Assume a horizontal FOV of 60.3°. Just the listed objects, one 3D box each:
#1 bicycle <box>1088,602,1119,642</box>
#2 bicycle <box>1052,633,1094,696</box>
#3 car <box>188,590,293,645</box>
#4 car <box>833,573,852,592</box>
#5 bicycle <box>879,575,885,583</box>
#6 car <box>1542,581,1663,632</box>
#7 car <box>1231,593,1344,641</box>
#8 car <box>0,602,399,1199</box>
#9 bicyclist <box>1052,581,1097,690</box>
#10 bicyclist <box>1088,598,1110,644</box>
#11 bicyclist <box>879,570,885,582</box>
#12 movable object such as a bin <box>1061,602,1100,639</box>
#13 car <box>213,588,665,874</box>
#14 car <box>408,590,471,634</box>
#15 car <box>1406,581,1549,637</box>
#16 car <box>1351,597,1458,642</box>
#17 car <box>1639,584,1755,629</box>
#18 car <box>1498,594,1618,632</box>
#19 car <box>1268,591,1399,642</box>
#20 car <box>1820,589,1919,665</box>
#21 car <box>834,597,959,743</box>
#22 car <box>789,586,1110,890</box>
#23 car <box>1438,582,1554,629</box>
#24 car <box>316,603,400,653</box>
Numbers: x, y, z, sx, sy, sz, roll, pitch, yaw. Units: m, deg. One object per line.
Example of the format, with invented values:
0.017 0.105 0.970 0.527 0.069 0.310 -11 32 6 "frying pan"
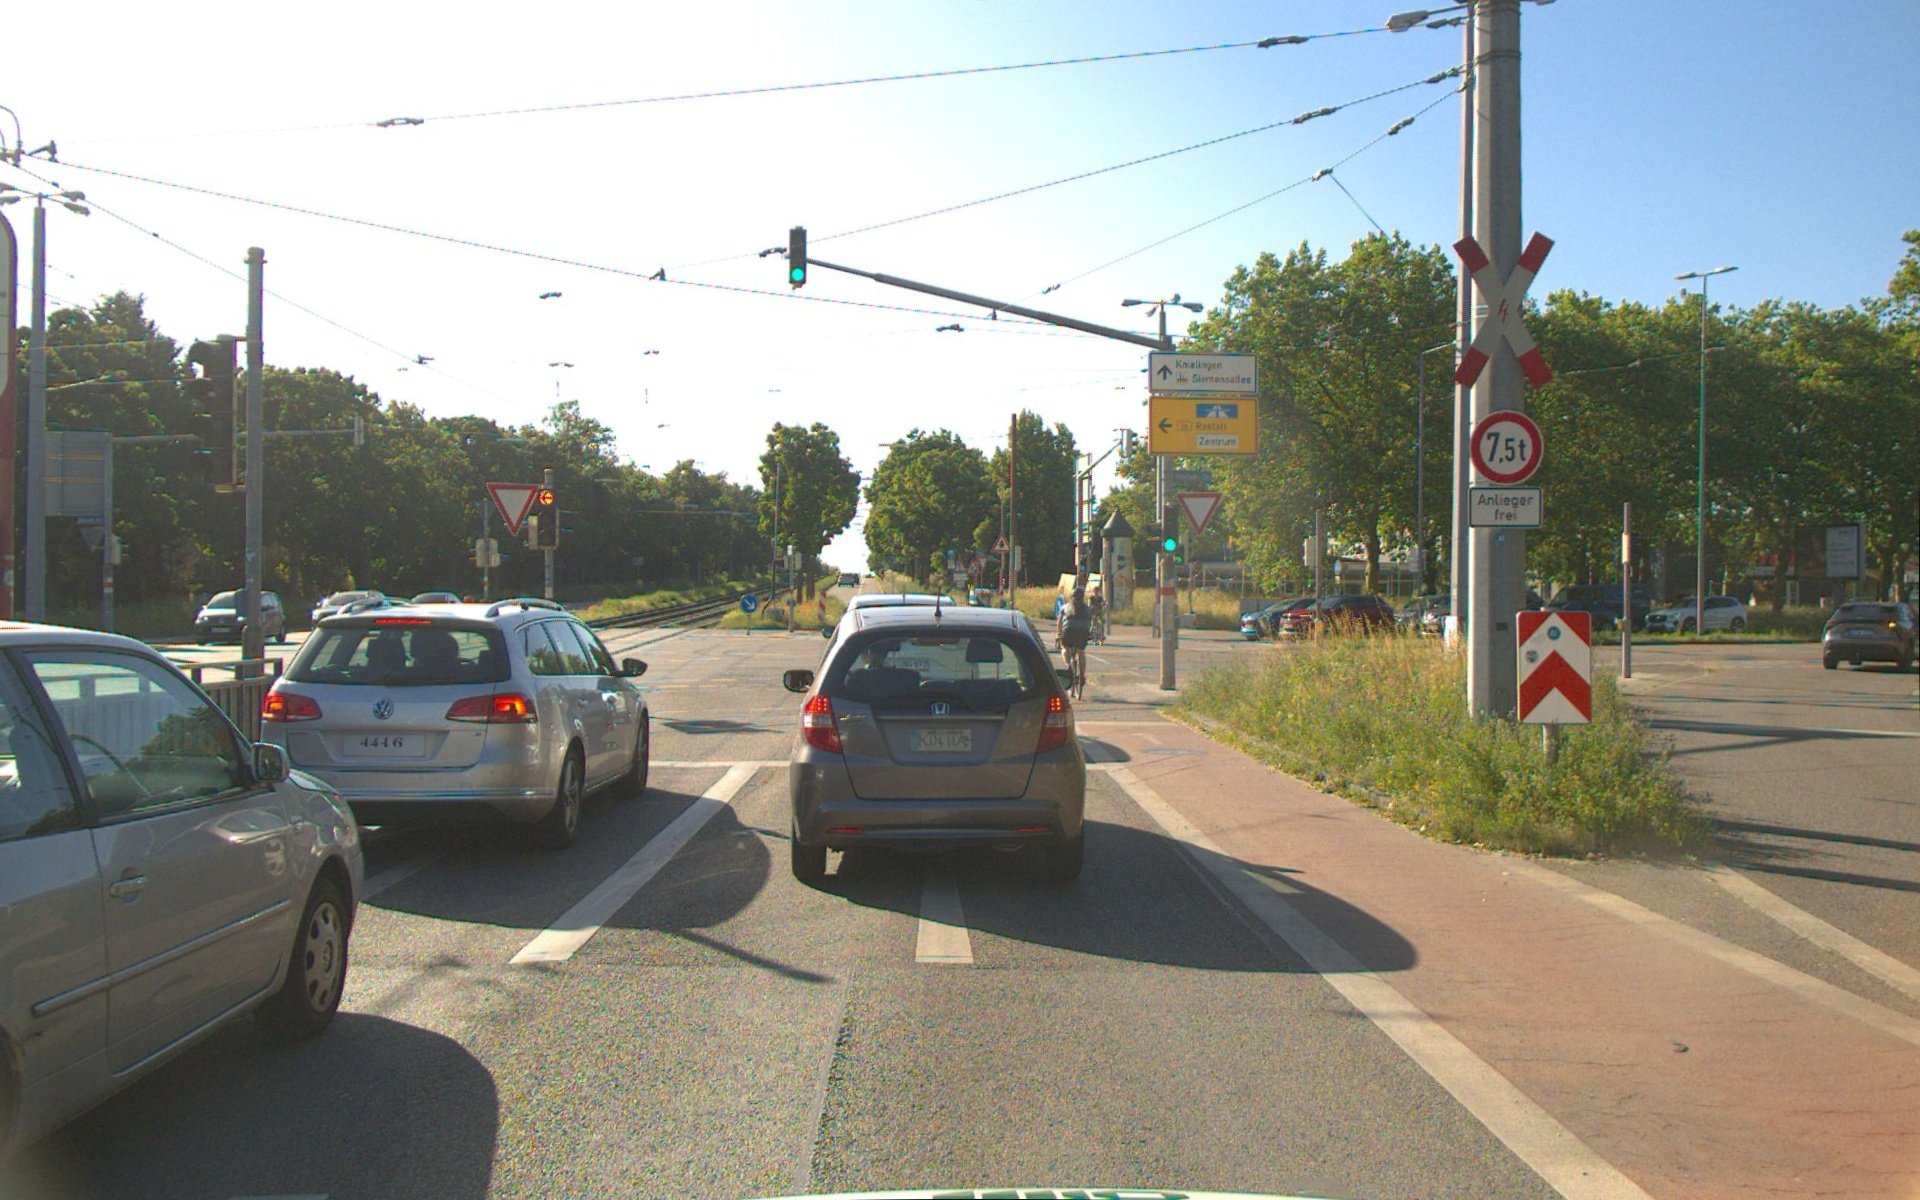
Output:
4.205 0.633 48.559 0.458 1.138 1.815 0 0 -11 "bicycle"
1.813 1.024 26.714 0.513 0.939 2.088 0 0 -1 "bicycle"
-20.287 0.481 46.773 1.650 1.484 3.699 0 0 -6 "car"
-12.842 -1.927 180.614 1.953 2.049 3.998 0 0 -2 "car"
-10.545 -2.831 222.876 0.801 1.066 2.505 1 -1 -2 "bicycle"
27.142 0.267 69.844 5.049 2.106 2.109 0 0 -30 "car"
11.677 0.584 58.880 3.806 1.628 1.696 0 0 -30 "car"
-2.854 0.763 4.574 1.549 1.494 3.413 0 0 -2 "car"
1.822 0.551 26.379 0.603 1.709 0.933 0 0 -2 "bicyclist"
4.124 0.622 49.159 0.500 1.364 0.563 0 0 -12 "bicyclist"
-10.531 -3.204 222.900 0.801 1.551 0.965 1 -1 -2 "bicyclist"
3.676 0.622 50.464 0.892 1.087 1.313 0 0 -10 "movable object such as a bin"
-3.253 0.718 11.303 1.839 1.554 4.419 0 0 -2 "car"
-21.012 0.462 66.861 1.757 1.717 3.994 0 0 -8 "car"
16.675 0.277 53.274 4.432 1.741 1.902 0 0 -30 "car"
16.568 0.701 61.579 3.806 1.628 1.696 0 0 -30 "car"
30.091 0.282 67.488 4.708 1.711 1.891 1 -1 -29 "car"
23.269 0.474 64.321 4.504 1.432 1.916 0 0 -29 "car"
12.359 0.522 54.710 4.026 1.628 1.801 0 0 -26 "car"
22.259 0.629 40.124 1.792 1.734 3.754 1 0 39 "car"
-0.740 0.746 19.253 1.324 1.554 3.122 0 0 -2 "car"
-0.080 0.701 10.289 1.637 1.542 3.673 0 0 -1 "car"
18.866 0.183 58.189 3.800 1.628 1.699 0 0 -26 "car"
-20.732 0.945 57.163 1.779 1.624 4.684 0 0 -8 "car"
